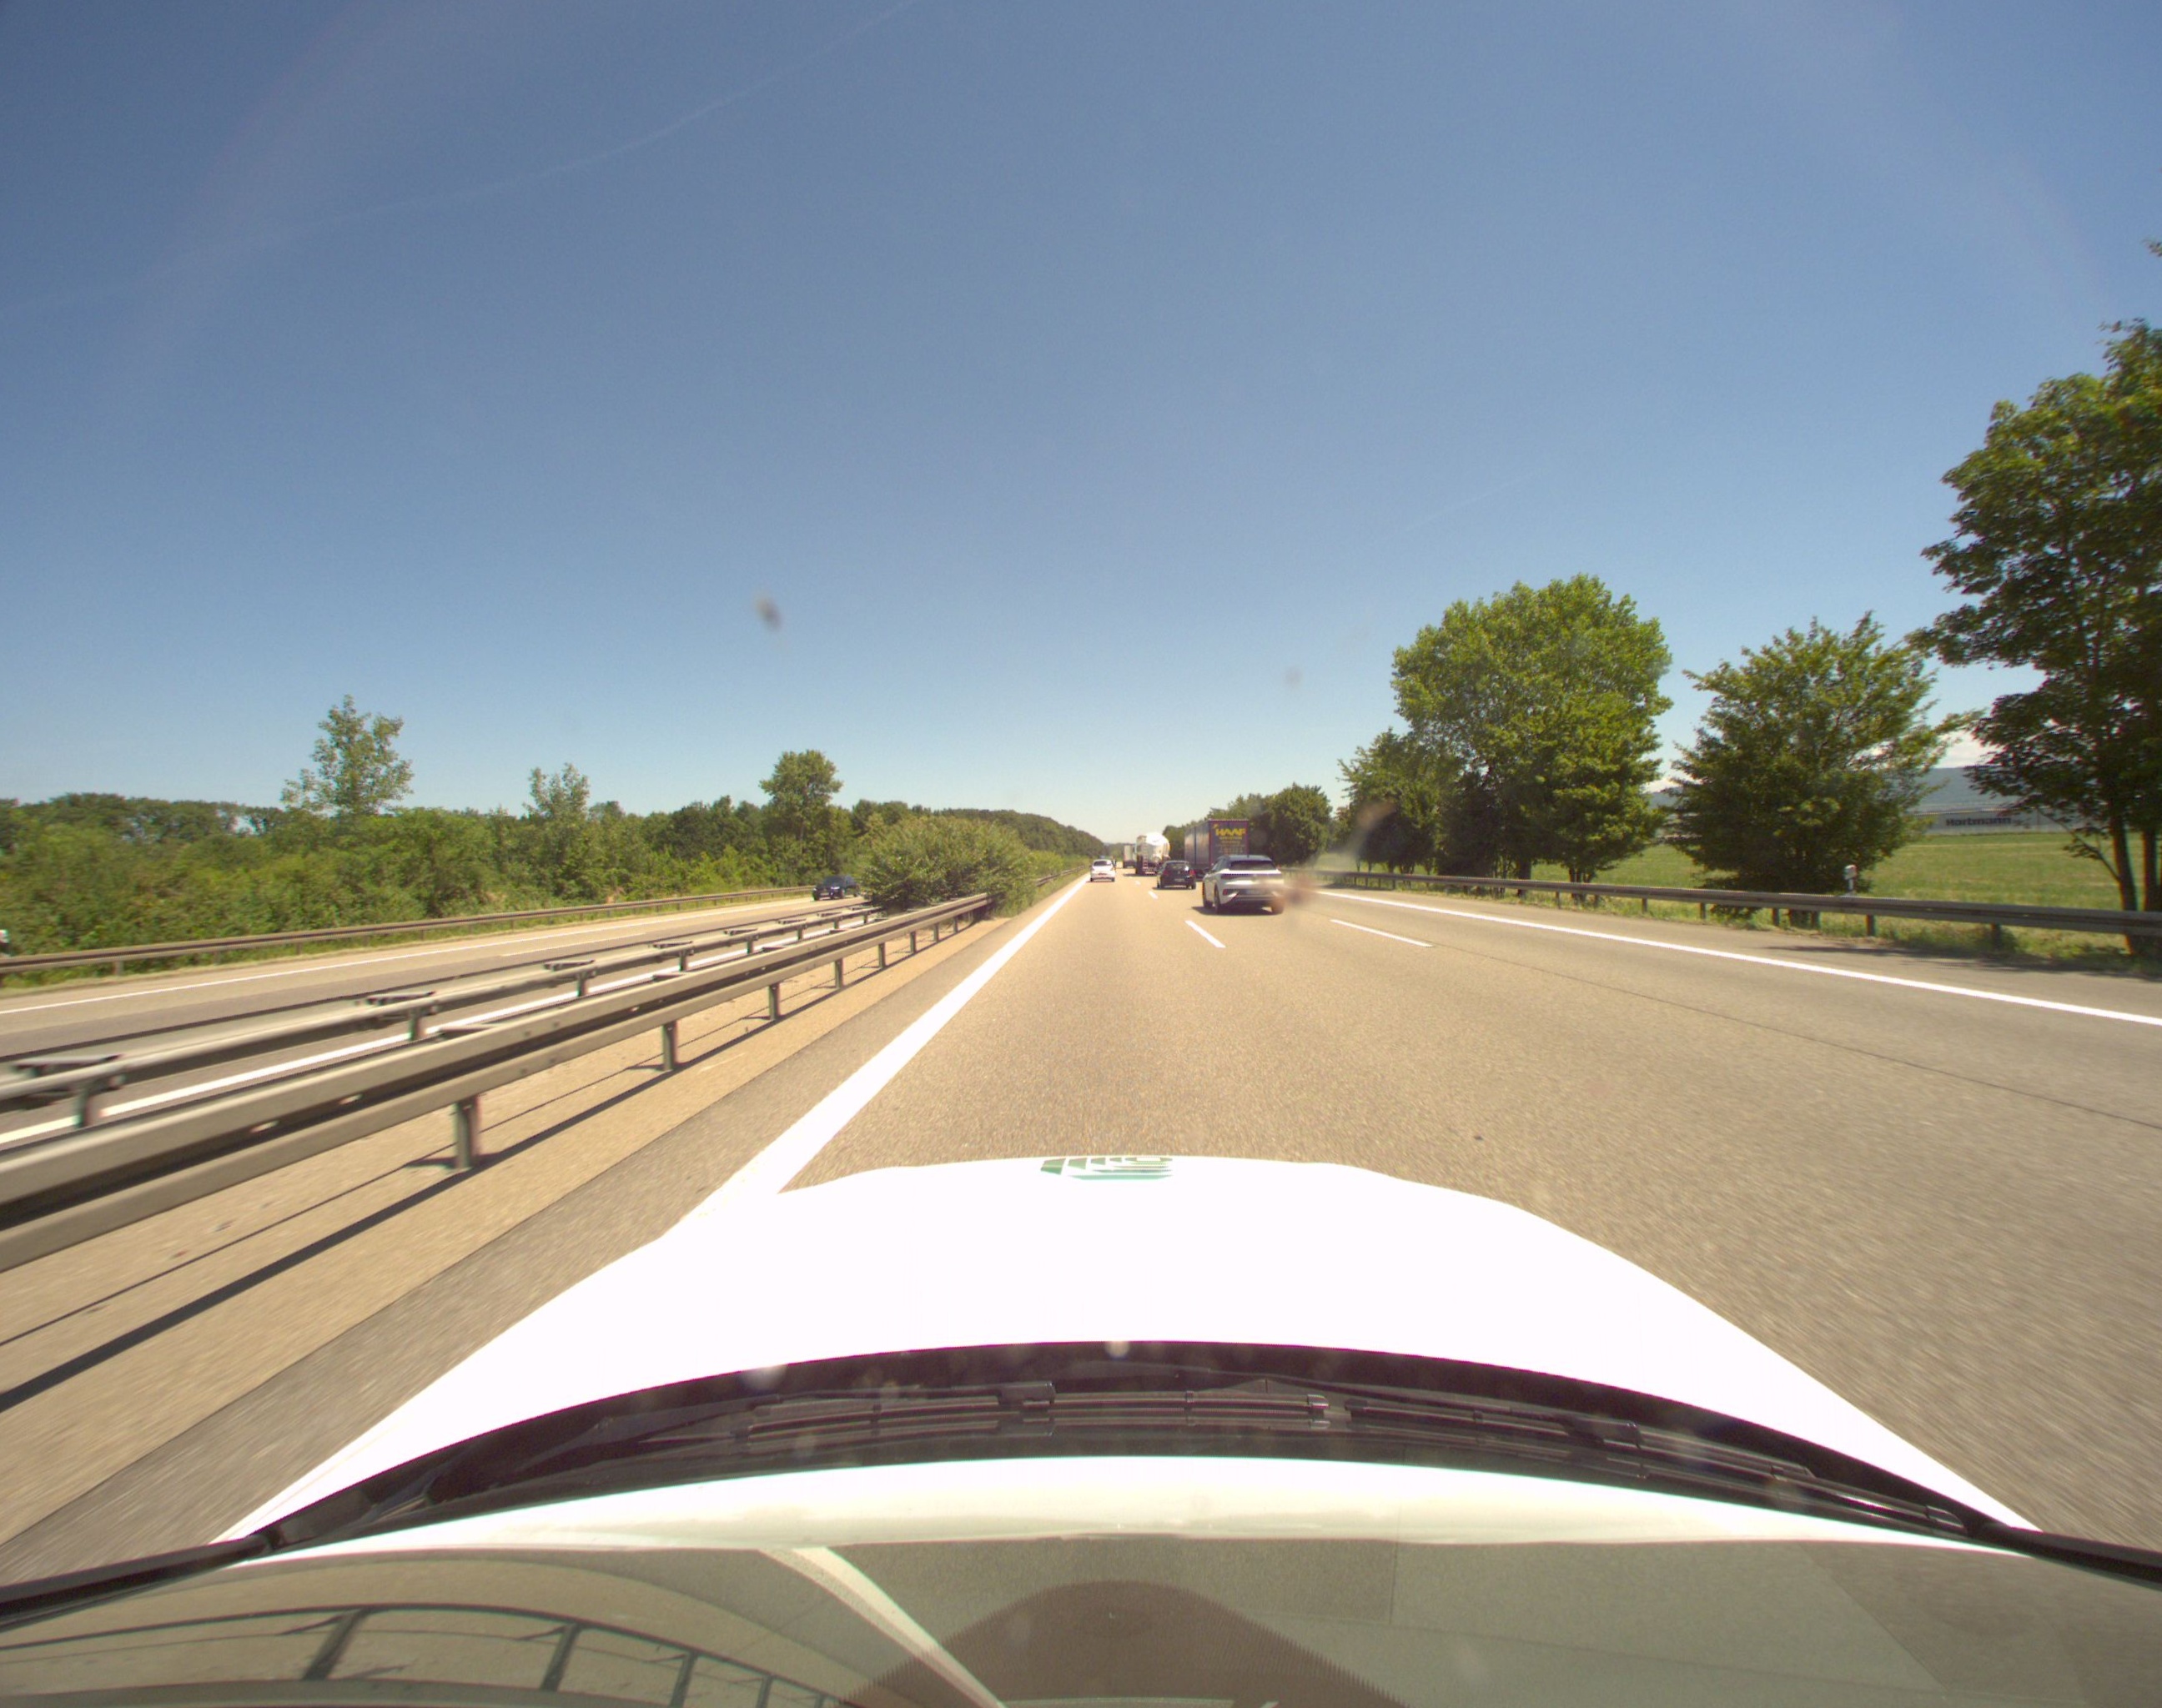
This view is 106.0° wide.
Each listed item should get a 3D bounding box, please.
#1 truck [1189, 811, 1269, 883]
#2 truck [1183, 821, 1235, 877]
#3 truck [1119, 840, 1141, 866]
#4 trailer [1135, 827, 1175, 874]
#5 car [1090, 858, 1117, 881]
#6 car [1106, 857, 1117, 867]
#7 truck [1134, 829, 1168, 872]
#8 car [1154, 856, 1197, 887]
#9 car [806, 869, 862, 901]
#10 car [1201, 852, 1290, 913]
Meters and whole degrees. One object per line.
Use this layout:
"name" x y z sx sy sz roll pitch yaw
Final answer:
"truck" 9.512 -0.383 54.423 3.096 4.139 15.519 0 0 2
"truck" 9.896 -0.357 63.673 3.097 4.139 8.060 0 0 2
"truck" 8.150 -0.168 136.500 3.381 4.214 12.089 0 0 2
"trailer" 6.805 -0.300 76.594 2.901 4.069 12.420 0 0 1
"car" 1.525 1.039 56.205 1.793 1.552 3.610 0 0 1
"car" 6.727 1.741 180.039 2.465 2.354 5.184 0 0 2
"truck" 6.899 -0.303 80.977 2.901 4.079 7.197 0 0 1
"car" 4.761 0.850 41.465 1.843 1.523 3.958 0 0 2
"car" -15.072 1.856 49.912 1.917 1.717 4.289 -2 0 2
"car" 4.617 0.751 23.478 1.796 1.603 4.382 0 0 1
